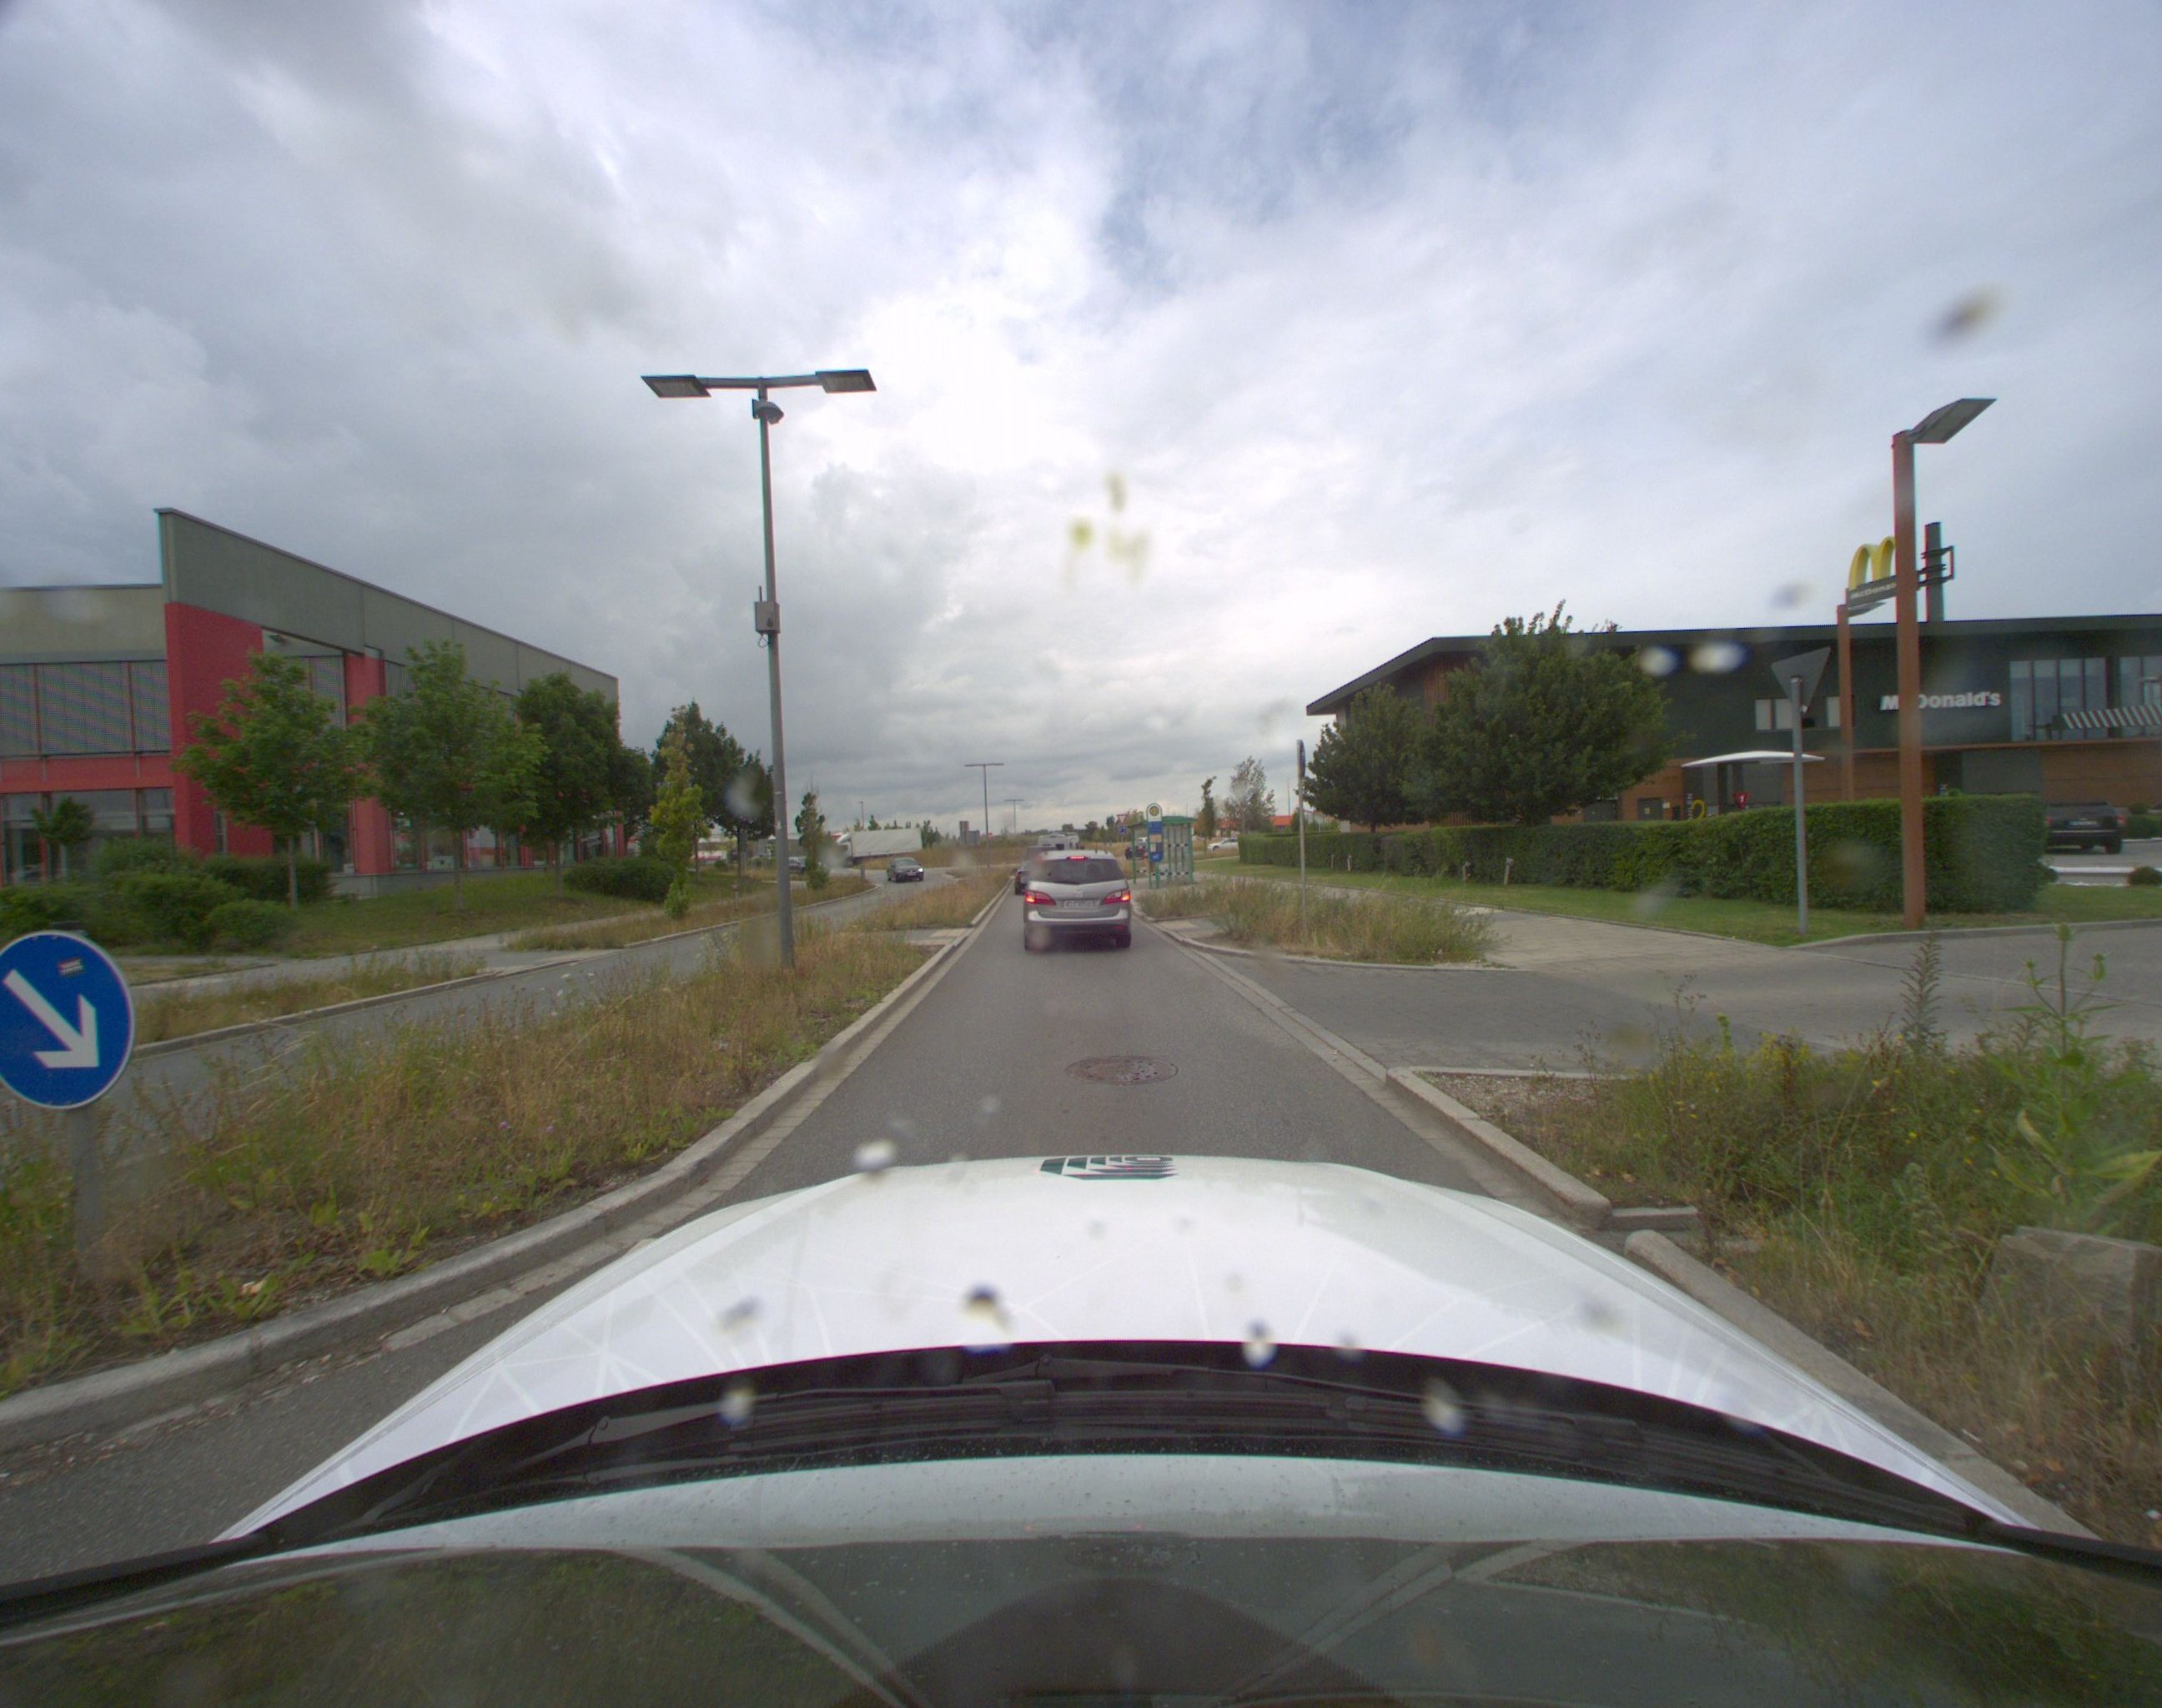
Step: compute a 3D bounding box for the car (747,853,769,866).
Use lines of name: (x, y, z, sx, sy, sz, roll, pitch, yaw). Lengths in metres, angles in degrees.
car: (-51.336, 0.835, 129.498, 1.989, 1.859, 3.997, -2, 0, -2)

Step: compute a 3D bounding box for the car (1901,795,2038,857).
car: (27.483, -0.836, 25.363, 1.974, 1.717, 4.026, -2, 0, 34)

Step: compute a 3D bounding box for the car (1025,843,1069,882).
car: (-1.689, 0.432, 42.002, 2.052, 1.826, 4.784, -2, 0, -1)

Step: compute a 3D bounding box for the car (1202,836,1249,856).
car: (14.575, -0.809, 82.282, 4.577, 1.757, 2.004, -2, 0, 7)

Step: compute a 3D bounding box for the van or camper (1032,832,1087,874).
van or camper: (-1.273, -0.080, 52.161, 2.287, 2.506, 5.223, -2, 0, 12)

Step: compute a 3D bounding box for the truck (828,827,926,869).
truck: (-21.189, -0.645, 84.879, 9.365, 3.906, 3.113, -3, 0, -31)

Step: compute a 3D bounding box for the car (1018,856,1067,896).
car: (-1.542, 0.848, 33.779, 1.840, 1.418, 4.222, -3, 1, -2)

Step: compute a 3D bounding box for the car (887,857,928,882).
car: (-10.871, 0.974, 50.888, 1.848, 1.407, 3.971, -4, 0, -21)

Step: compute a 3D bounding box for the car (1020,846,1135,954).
car: (-0.118, 0.683, 14.250, 1.725, 1.600, 3.804, -1, 0, -2)

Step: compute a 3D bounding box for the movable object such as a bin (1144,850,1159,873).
movable object such as a bin: (2.507, 0.271, 29.169, 0.455, 0.798, 0.379, -2, 0, -4)

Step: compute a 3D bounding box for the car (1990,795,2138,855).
car: (31.343, -0.890, 26.135, 2.095, 1.717, 4.258, -2, 0, 38)

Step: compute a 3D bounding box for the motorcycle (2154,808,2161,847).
motorcycle: (34.722, -0.854, 25.439, 0.848, 1.244, 1.979, -2, 0, 35)

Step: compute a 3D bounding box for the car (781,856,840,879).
car: (-21.421, 1.055, 64.505, 4.151, 1.592, 2.078, -3, 1, 27)

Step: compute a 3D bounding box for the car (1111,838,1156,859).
car: (4.215, -0.472, 64.633, 1.974, 1.515, 4.025, -2, 0, 28)
